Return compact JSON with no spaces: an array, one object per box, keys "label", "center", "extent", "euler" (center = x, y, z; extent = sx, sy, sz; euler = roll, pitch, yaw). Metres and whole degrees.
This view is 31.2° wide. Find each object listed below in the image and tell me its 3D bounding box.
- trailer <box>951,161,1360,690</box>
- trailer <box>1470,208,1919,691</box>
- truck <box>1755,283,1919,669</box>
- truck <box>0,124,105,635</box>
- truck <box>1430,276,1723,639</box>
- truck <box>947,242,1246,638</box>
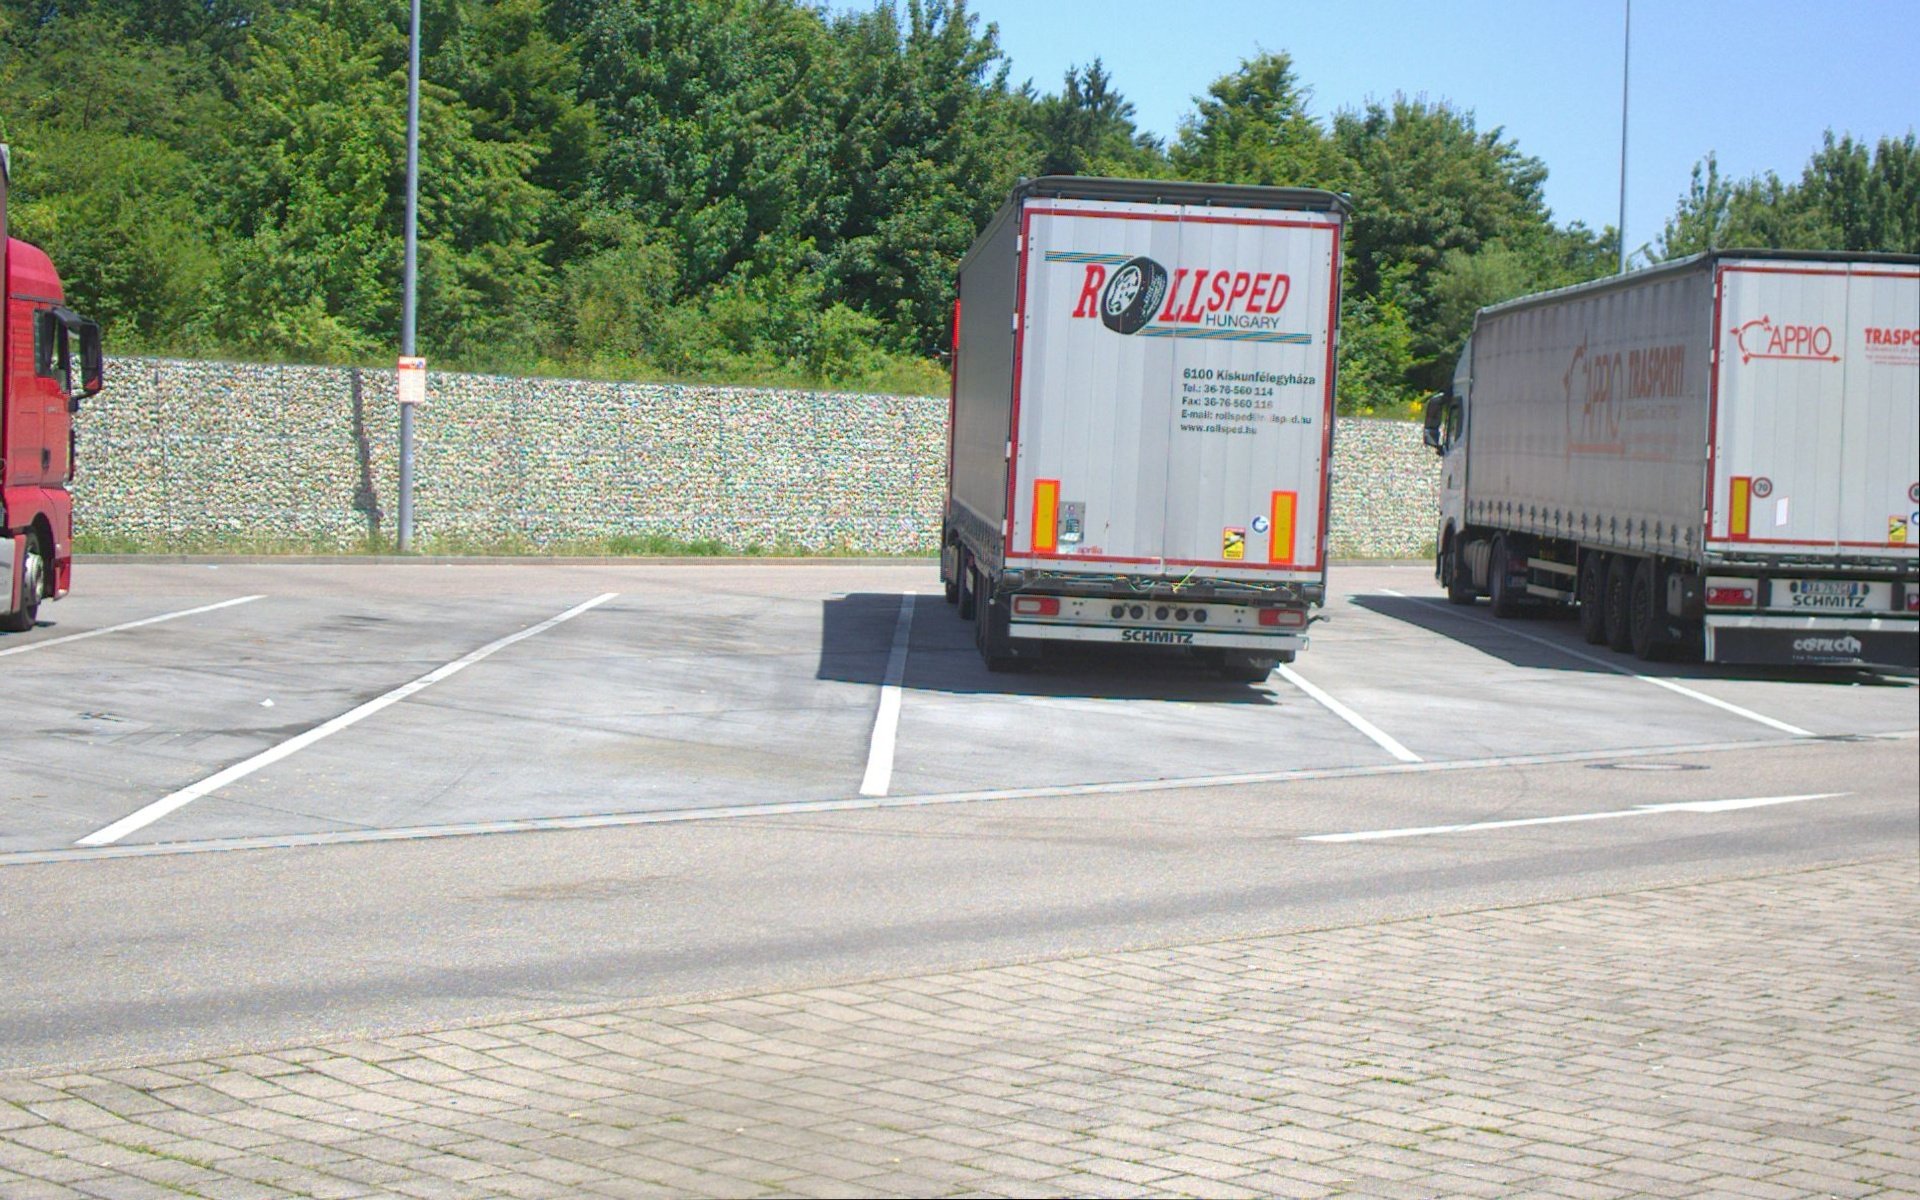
[{"label":"trailer","center":[1.479,-1.509,31.909],"extent":[2.897,4.000,11.318],"euler":[1,2,-1]},{"label":"trailer","center":[8.120,-1.592,38.202],"extent":[2.681,4.437,12.831],"euler":[1,2,-1]},{"label":"truck","center":[11.737,-1.352,38.748],"extent":[2.587,4.211,11.971],"euler":[1,1,-1]},{"label":"truck","center":[-9.167,-1.809,28.360],"extent":[2.805,4.119,5.894],"euler":[1,2,-1]},{"label":"truck","center":[7.986,-1.840,45.246],"extent":[2.661,4.437,5.864],"euler":[1,2,-1]},{"label":"truck","center":[1.368,-1.707,37.769],"extent":[2.871,3.967,6.030],"euler":[1,2,-1]}]
